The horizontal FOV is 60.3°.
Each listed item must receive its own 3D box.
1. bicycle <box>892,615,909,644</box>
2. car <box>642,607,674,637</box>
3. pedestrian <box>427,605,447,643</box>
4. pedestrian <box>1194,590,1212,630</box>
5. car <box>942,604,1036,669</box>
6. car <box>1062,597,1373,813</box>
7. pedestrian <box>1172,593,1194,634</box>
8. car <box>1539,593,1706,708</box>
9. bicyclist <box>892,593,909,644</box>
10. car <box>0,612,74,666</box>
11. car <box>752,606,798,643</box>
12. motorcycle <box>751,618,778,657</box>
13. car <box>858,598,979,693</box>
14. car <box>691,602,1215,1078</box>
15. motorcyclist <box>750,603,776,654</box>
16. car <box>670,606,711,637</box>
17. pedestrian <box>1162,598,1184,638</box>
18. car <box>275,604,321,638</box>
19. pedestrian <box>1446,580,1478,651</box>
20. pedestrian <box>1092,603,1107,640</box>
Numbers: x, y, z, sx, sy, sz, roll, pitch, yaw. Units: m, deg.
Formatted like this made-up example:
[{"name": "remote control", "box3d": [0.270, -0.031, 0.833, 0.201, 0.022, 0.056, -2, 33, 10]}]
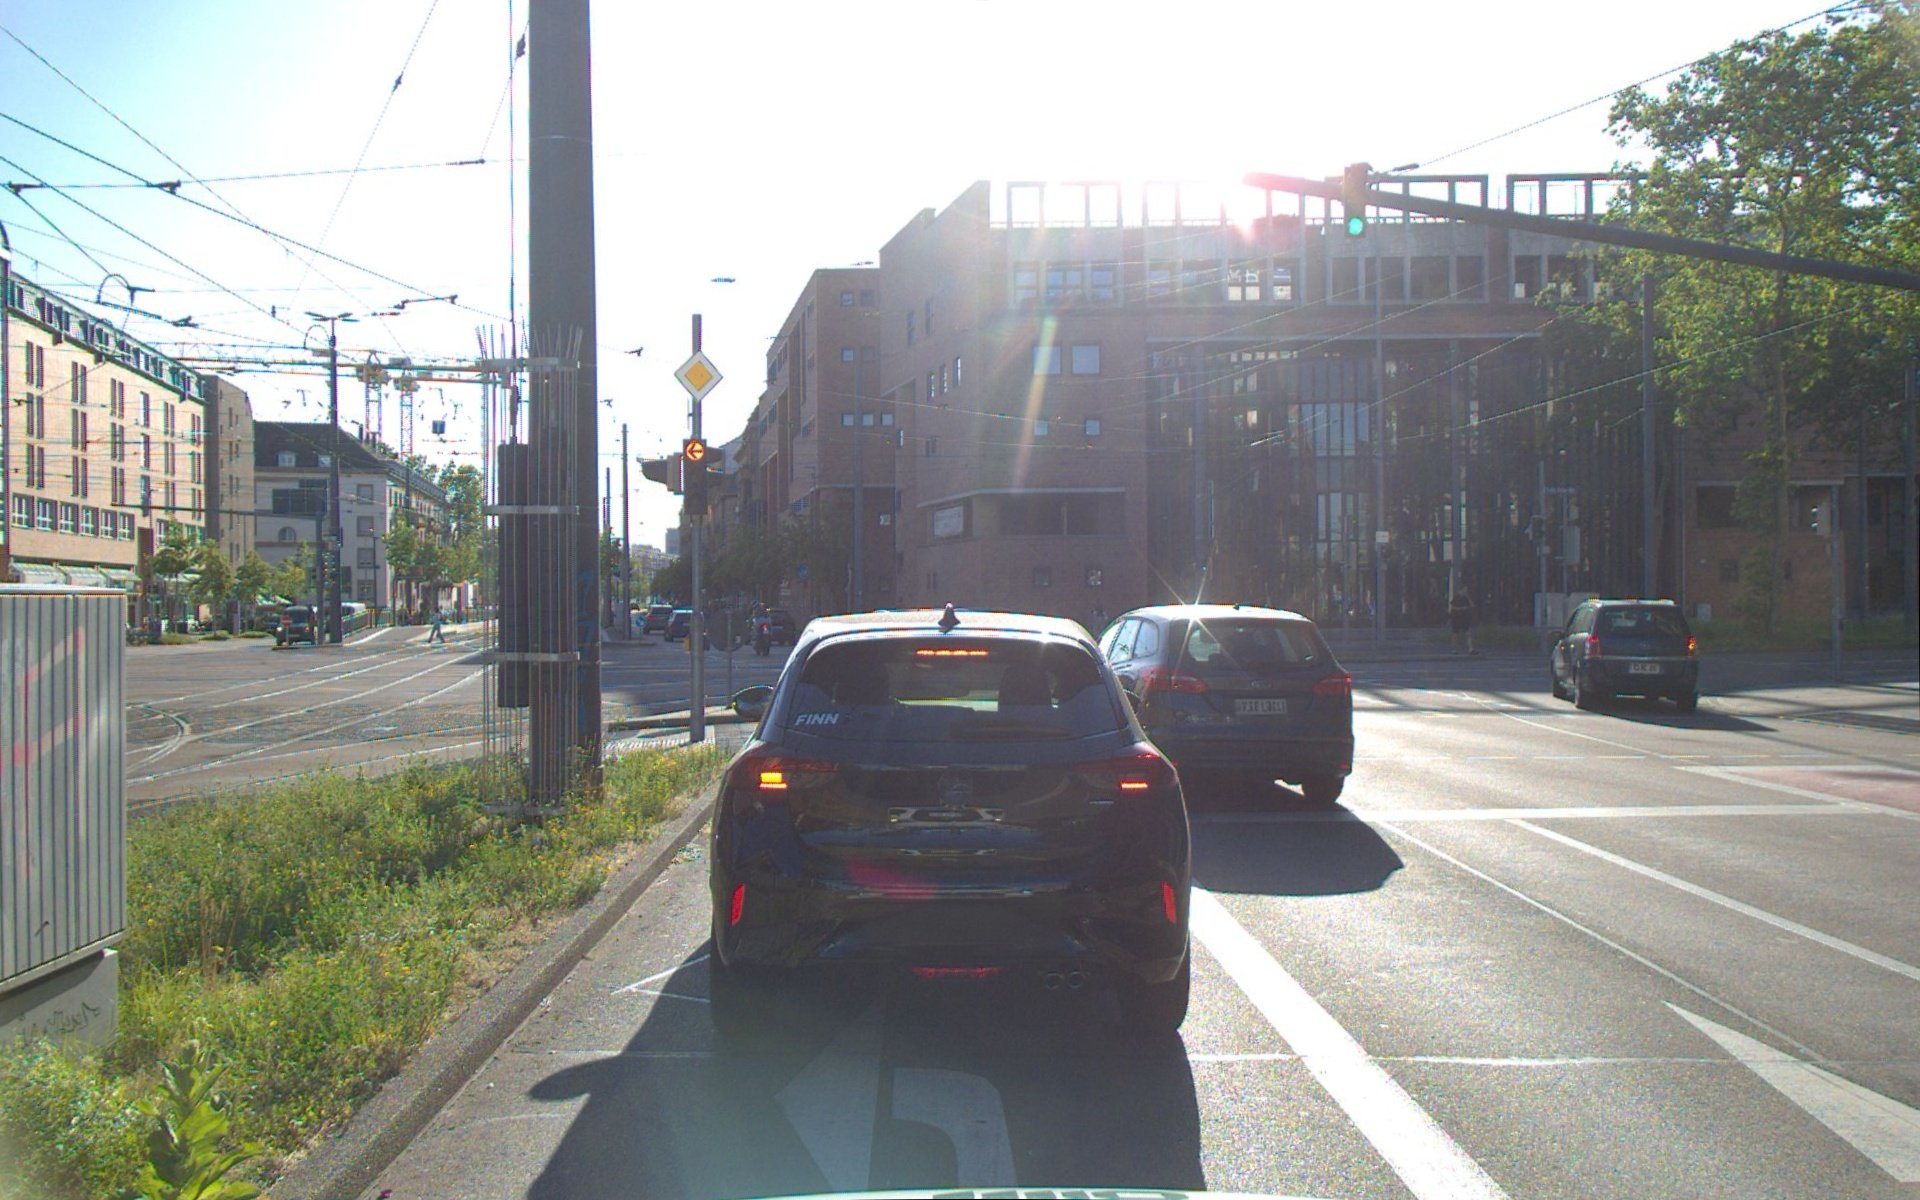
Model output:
[{"name": "bicycle", "box3d": [-2.155, 1.052, 59.731, 0.482, 1.015, 2.325, -1, 0, -5]}, {"name": "car", "box3d": [-17.472, 1.260, 95.615, 1.706, 1.680, 3.988, 0, 0, -12]}, {"name": "pedestrian", "box3d": [-23.172, 1.047, 73.262, 0.755, 1.669, 0.739, -1, 0, -24]}, {"name": "pedestrian", "box3d": [10.142, 0.426, 68.984, 0.722, 1.645, 0.561, -1, 0, 8]}, {"name": "car", "box3d": [0.673, 0.866, 40.863, 1.773, 1.483, 3.994, 1, 0, -7]}, {"name": "car", "box3d": [1.935, 0.725, 13.630, 1.652, 1.458, 4.150, 0, 1, -4]}, {"name": "pedestrian", "box3d": [9.140, 0.561, 67.705, 0.881, 1.645, 0.561, -1, 0, 8]}, {"name": "car", "box3d": [10.413, 0.731, 26.287, 1.652, 1.657, 4.466, 0, 0, 11]}, {"name": "bicyclist", "box3d": [-2.151, 0.655, 59.736, 0.565, 1.822, 0.863, -1, 0, -4]}, {"name": "car", "box3d": [-27.746, 1.127, 48.624, 1.542, 1.474, 3.996, -1, 0, -5]}, {"name": "car", "box3d": [-7.915, 1.040, 70.407, 1.774, 1.483, 3.992, 1, 0, -9]}, {"name": "motorcycle", "box3d": [-6.059, 1.149, 51.230, 0.761, 1.135, 1.965, -1, 0, -9]}, {"name": "car", "box3d": [-0.831, 0.783, 30.196, 1.776, 1.518, 4.490, 3, 0, -6]}, {"name": "car", "box3d": [-0.006, 0.749, 7.134, 1.615, 1.458, 4.000, 0, 0, 0]}, {"name": "motorcyclist", "box3d": [-6.090, 0.881, 51.202, 0.731, 1.557, 1.018, -1, 0, -10]}, {"name": "car", "box3d": [-12.564, 0.974, 76.990, 1.707, 1.373, 3.988, 0, 0, -12]}, {"name": "pedestrian", "box3d": [8.828, 0.728, 68.493, 0.881, 1.645, 0.561, -1, 0, 8]}, {"name": "car", "box3d": [-31.206, 0.979, 78.014, 1.717, 1.531, 3.861, -1, 0, -18]}, {"name": "pedestrian", "box3d": [12.681, 0.395, 41.761, 0.692, 1.789, 0.560, -1, 0, 25]}, {"name": "pedestrian", "box3d": [5.636, 0.861, 66.860, 0.519, 1.455, 0.598, -1, 0, -1]}]
